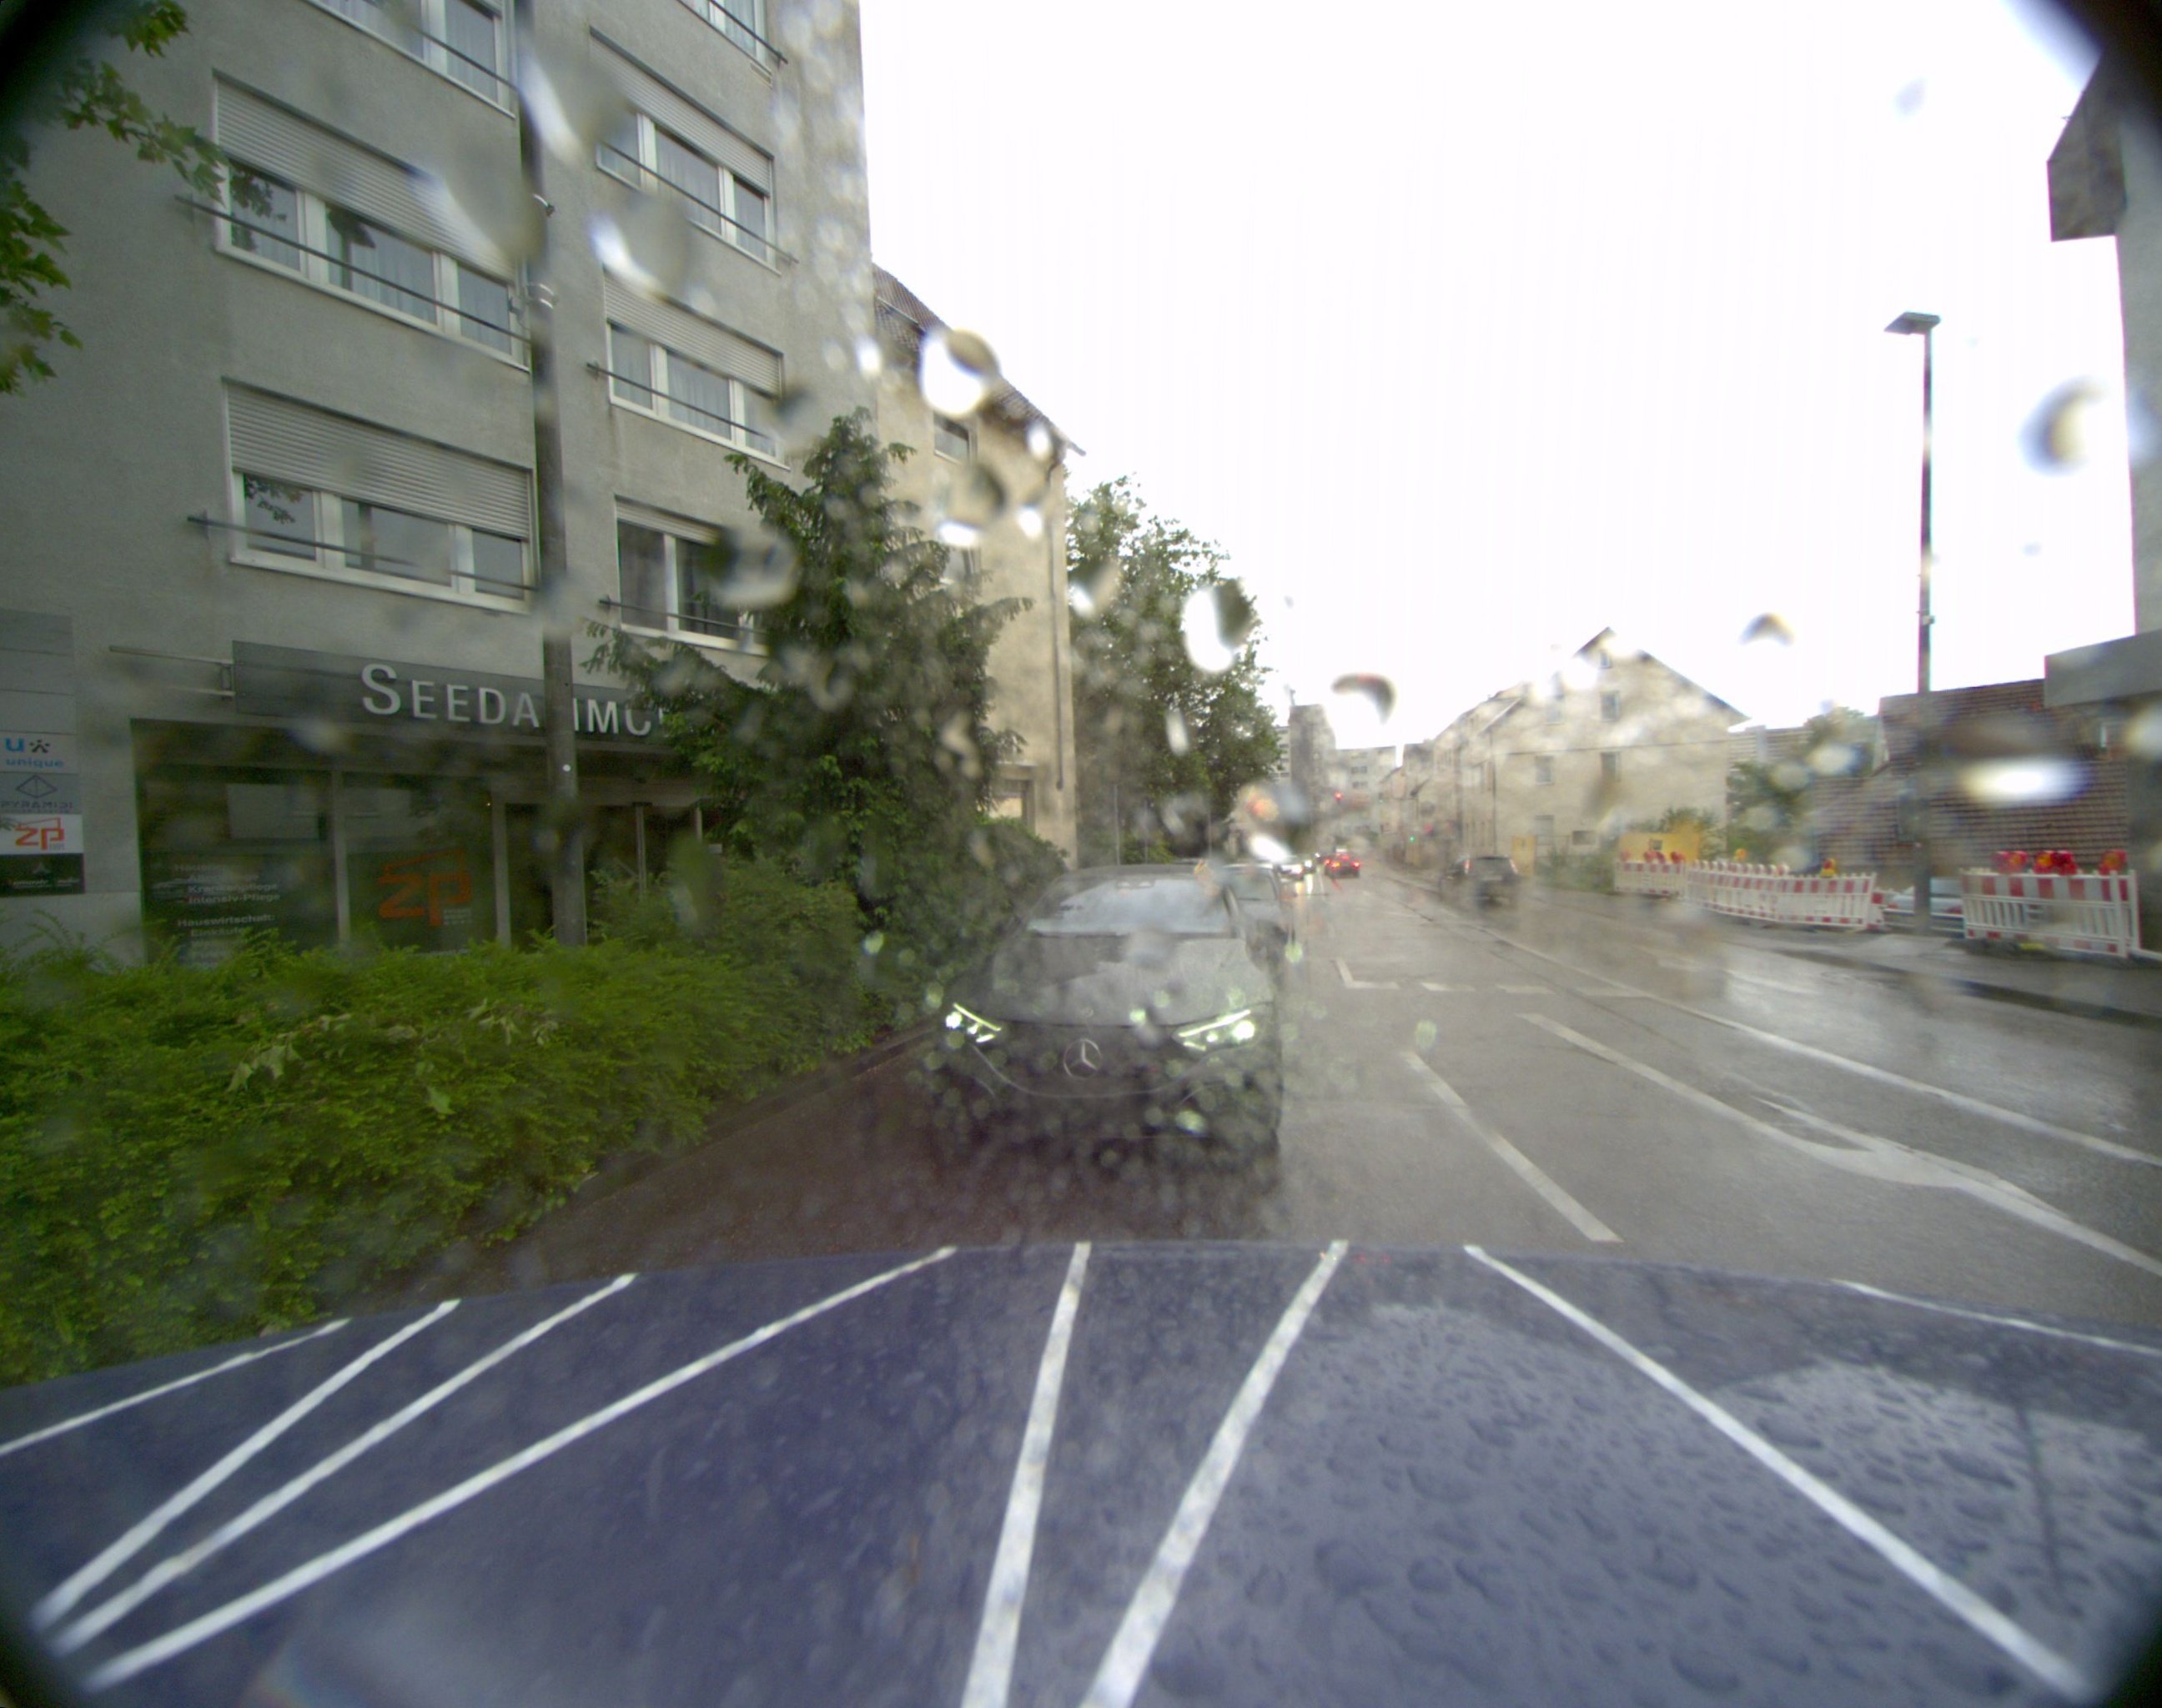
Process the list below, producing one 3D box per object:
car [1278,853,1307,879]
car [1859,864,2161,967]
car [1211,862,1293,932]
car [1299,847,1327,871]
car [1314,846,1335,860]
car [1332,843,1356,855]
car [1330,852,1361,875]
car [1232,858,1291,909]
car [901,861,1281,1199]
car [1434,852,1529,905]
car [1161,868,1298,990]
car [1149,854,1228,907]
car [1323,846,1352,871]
[{"bbox_3d":[13.367,0.734,48.082,1.614,1.495,3.722,-3,0,16],"label":"car"},{"bbox_3d":[16.510,1.055,13.420,3.505,1.382,1.653,6,-1,8],"label":"car"},{"bbox_3d":[4.202,0.969,18.421,1.685,1.413,4.004,-2,0,14],"label":"car"},{"bbox_3d":[19.055,0.349,62.211,1.790,1.841,3.841,-2,0,22],"label":"car"},{"bbox_3d":[27.592,-0.135,86.033,1.790,1.555,3.841,-2,0,24],"label":"car"},{"bbox_3d":[36.349,-0.675,104.920,1.736,1.555,3.843,-2,0,43],"label":"car"},{"bbox_3d":[17.230,0.610,49.643,1.709,1.375,3.674,-2,0,16],"label":"car"},{"bbox_3d":[6.082,0.927,25.283,1.684,1.452,4.005,-2,0,16],"label":"car"},{"bbox_3d":[0.430,0.873,5.797,1.819,1.562,4.280,-3,-1,11],"label":"car"},{"bbox_3d":[12.503,0.719,24.001,1.734,1.501,4.278,-1,0,15],"label":"car"},{"bbox_3d":[2.384,0.972,11.451,1.639,1.424,3.810,-1,0,17],"label":"car"},{"bbox_3d":[4.046,0.893,27.801,1.933,1.770,4.740,-1,0,20],"label":"car"},{"bbox_3d":[18.844,0.328,55.920,1.818,1.635,4.281,-2,-1,16],"label":"car"}]
